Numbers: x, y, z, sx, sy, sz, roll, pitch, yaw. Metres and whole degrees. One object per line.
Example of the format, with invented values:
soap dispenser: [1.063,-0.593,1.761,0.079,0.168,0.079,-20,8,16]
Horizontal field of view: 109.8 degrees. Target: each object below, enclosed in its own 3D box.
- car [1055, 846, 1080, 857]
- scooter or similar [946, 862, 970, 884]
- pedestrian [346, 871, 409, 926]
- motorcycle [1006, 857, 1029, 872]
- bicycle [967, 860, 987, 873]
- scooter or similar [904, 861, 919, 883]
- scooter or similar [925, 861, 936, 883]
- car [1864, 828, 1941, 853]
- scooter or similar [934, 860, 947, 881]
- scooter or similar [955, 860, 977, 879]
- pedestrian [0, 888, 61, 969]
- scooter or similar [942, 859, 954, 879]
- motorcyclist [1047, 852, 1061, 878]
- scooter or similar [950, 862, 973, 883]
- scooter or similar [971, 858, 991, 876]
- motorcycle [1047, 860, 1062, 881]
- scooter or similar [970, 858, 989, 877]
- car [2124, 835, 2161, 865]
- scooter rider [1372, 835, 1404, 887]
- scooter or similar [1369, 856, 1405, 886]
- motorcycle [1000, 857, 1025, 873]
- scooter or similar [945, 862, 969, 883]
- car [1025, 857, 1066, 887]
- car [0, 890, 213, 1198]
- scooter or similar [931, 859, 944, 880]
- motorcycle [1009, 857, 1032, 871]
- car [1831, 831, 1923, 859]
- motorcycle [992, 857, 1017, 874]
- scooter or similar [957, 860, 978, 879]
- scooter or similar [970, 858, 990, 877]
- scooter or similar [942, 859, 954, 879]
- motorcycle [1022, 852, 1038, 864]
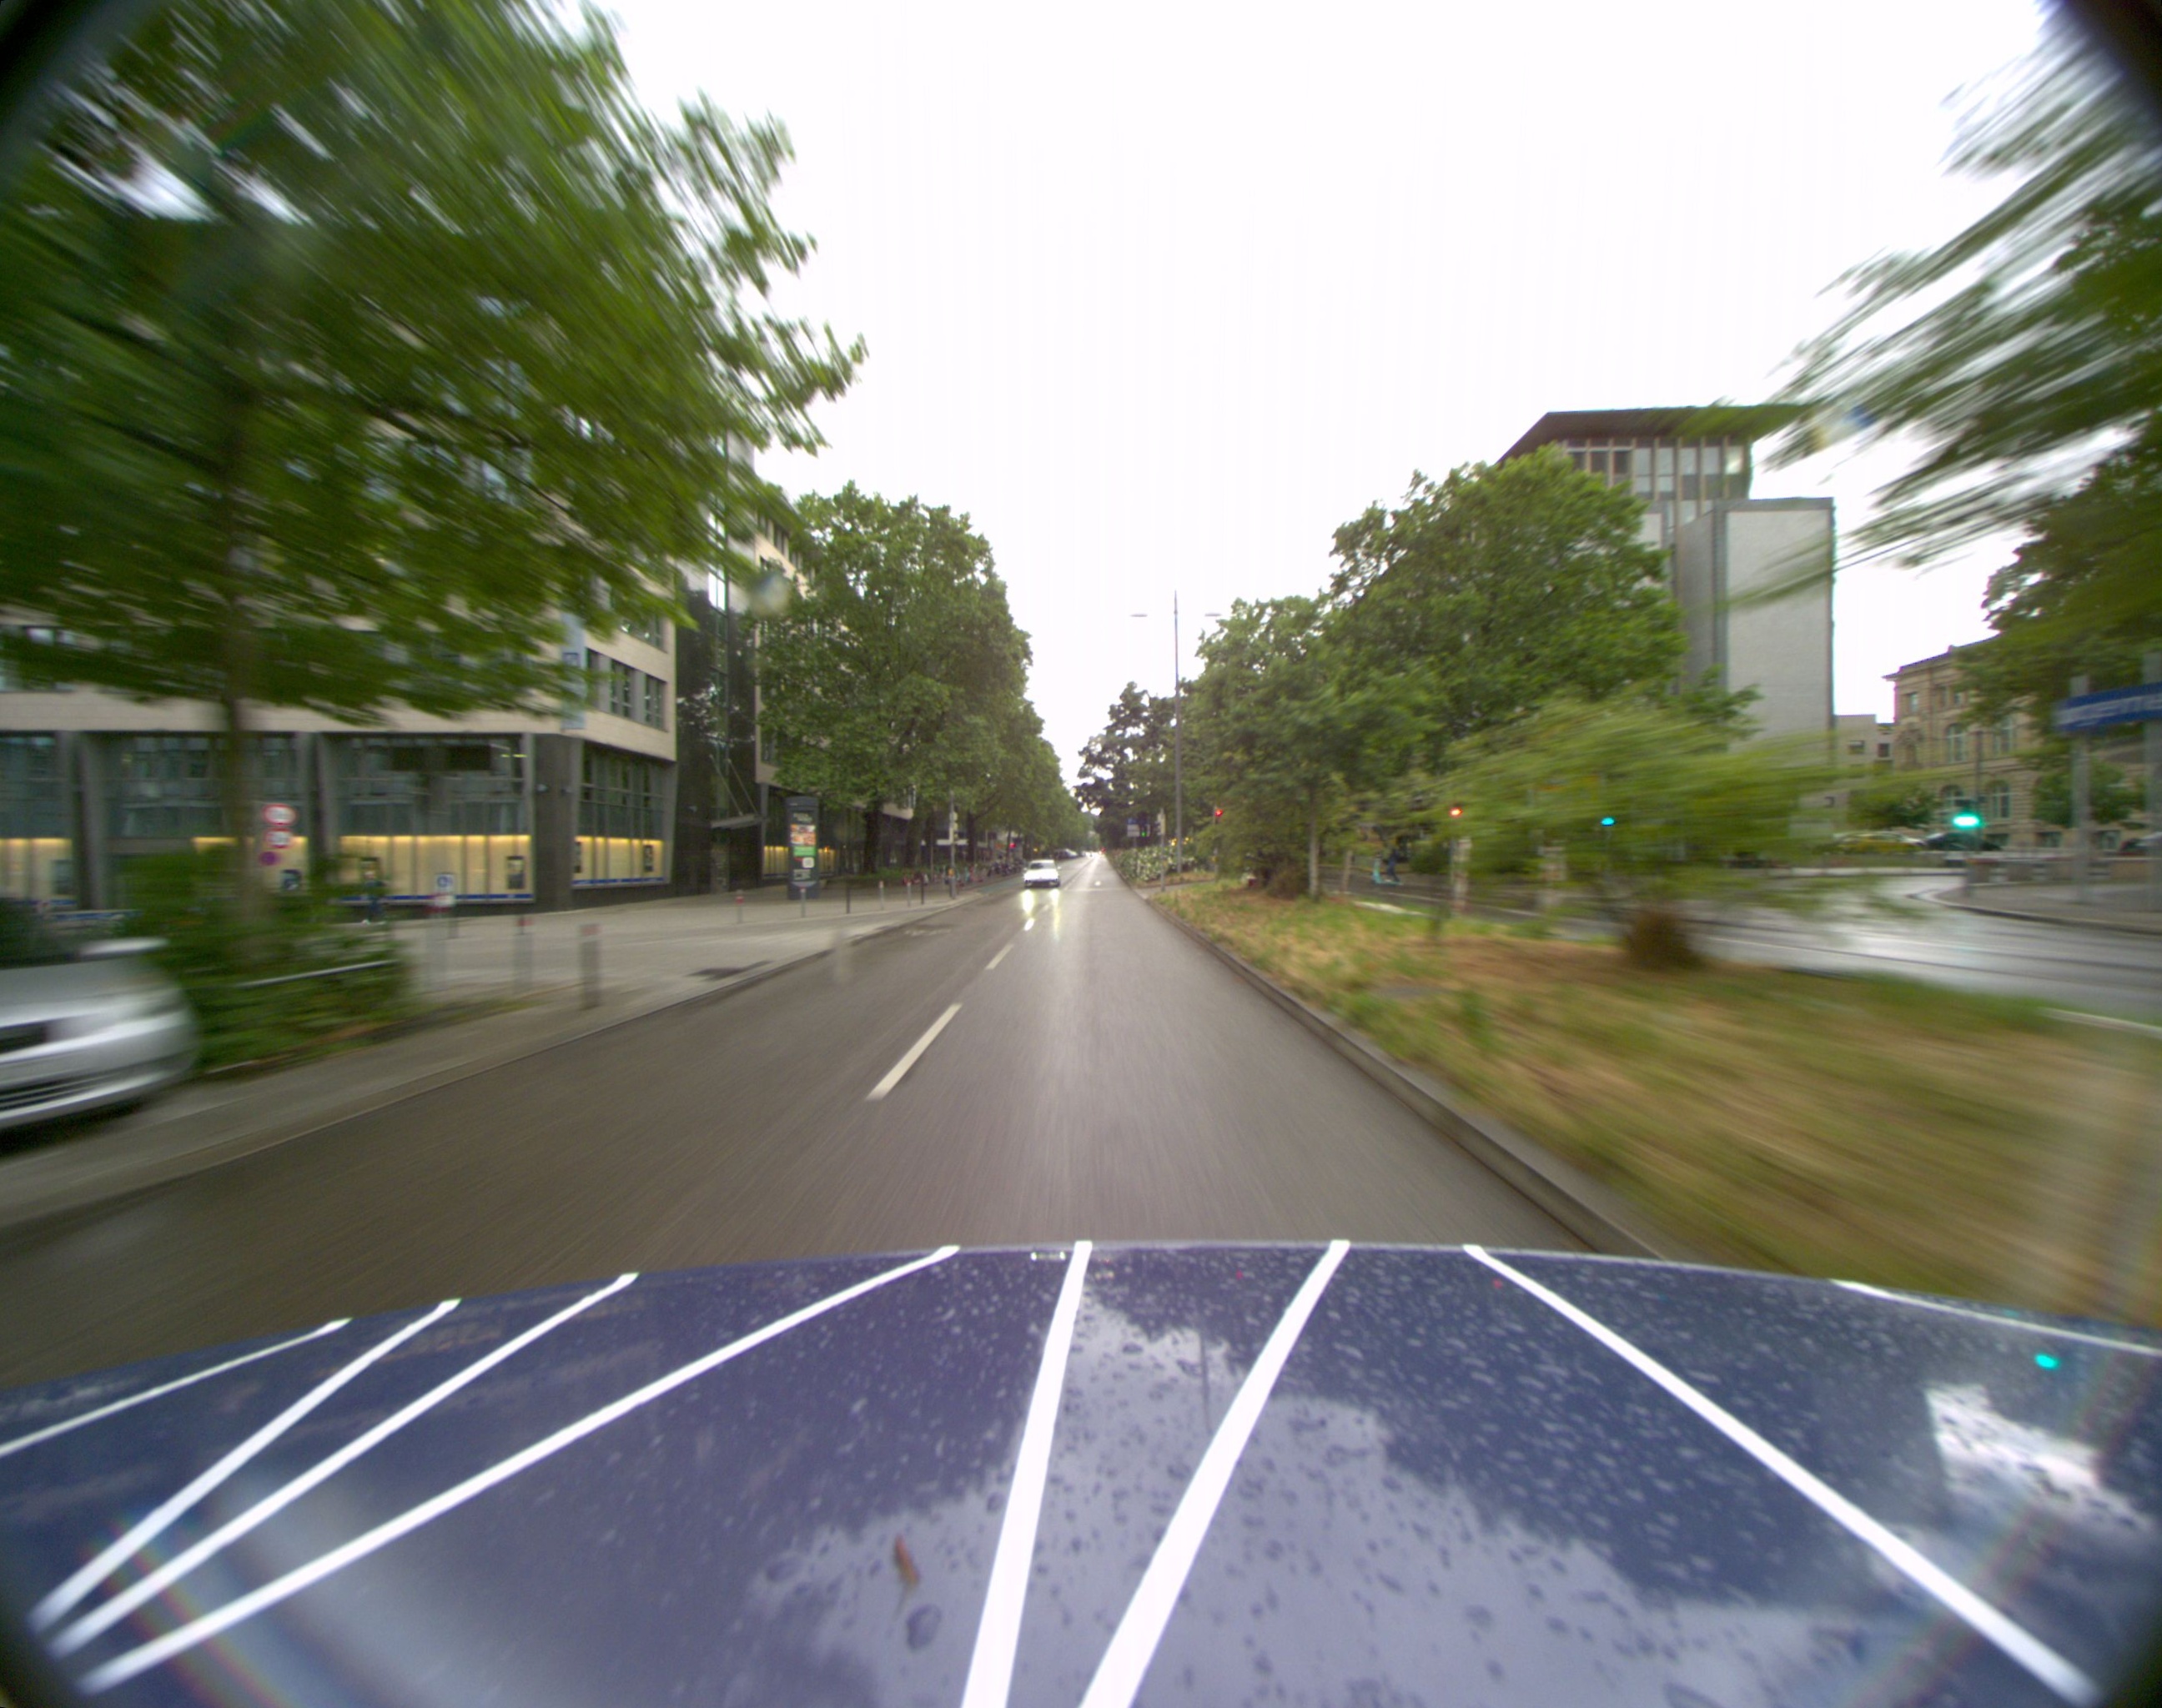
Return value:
car: [-3.449,-0.608,193.459,6.267,2.665,2.326,-1,2,37]
scooter or similar: [-7.208,1.110,44.669,1.291,1.252,0.490,0,-1,13]
pedestrian: [-25.285,1.587,27.337,1.276,1.840,0.919,-2,2,-4]
motorcycle: [-5.710,0.944,68.780,1.964,1.365,0.728,0,-1,-20]
bicycle: [-8.438,1.001,61.877,0.637,1.022,1.766,-1,1,30]
scooter or similar: [-9.853,1.047,44.097,0.490,1.191,1.290,-2,2,-29]
scooter or similar: [-8.687,1.009,43.837,0.489,1.191,1.292,-2,1,-8]
car: [62.371,-1.033,57.750,3.810,1.805,1.713,-1,0,6]
scooter or similar: [-8.258,0.976,44.680,0.489,1.252,1.294,0,-1,2]
scooter or similar: [-7.390,1.012,48.731,1.292,1.228,0.489,0,-1,4]
pedestrian: [-23.649,1.642,16.812,1.185,1.686,0.808,-2,1,11]
scooter or similar: [-8.350,0.921,47.620,0.489,1.252,1.294,0,-1,2]
motorcyclist: [-1.682,0.700,48.079,0.744,1.575,1.059,-2,2,2]
scooter or similar: [-7.115,1.094,45.278,1.291,1.252,0.490,0,-1,13]
scooter or similar: [-6.956,0.916,52.747,1.292,1.270,0.537,0,-1,6]
motorcycle: [-1.664,1.019,48.182,0.744,1.194,2.235,-2,1,2]
scooter or similar: [-6.897,0.936,51.616,1.293,1.270,0.536,0,-1,-9]
car: [59.675,-0.265,40.864,3.974,1.543,1.747,-2,0,17]
scooter rider: [11.795,0.260,29.209,0.902,1.929,0.757,-2,1,-2]
scooter or similar: [11.766,0.668,29.207,1.185,1.107,0.435,-2,1,-2]
motorcycle: [-5.893,0.917,65.353,1.964,1.365,0.728,0,-1,-20]
scooter or similar: [-7.475,1.096,45.822,1.291,1.252,0.490,0,-1,13]
car: [-1.881,0.949,41.266,1.795,1.463,3.794,-2,1,2]
car: [-7.321,1.051,4.447,3.652,1.538,1.717,-2,1,21]
scooter or similar: [-8.765,0.960,46.401,0.489,1.252,1.294,0,-1,2]
motorcycle: [-5.828,0.966,73.028,2.062,1.420,0.728,0,-1,-20]
car: [55.734,-0.644,53.276,4.137,1.827,1.930,-2,0,8]
motorcycle: [-6.223,0.957,61.870,1.963,1.365,0.728,0,-1,-14]
scooter or similar: [-7.371,0.997,49.475,1.292,1.228,0.489,0,-1,4]
scooter or similar: [-6.952,0.924,52.302,1.292,1.270,0.537,0,-1,6]
scooter or similar: [-8.350,0.921,47.620,0.489,1.252,1.294,0,-1,2]
motorcycle: [-5.949,0.462,88.597,0.682,1.359,1.950,4,2,42]
